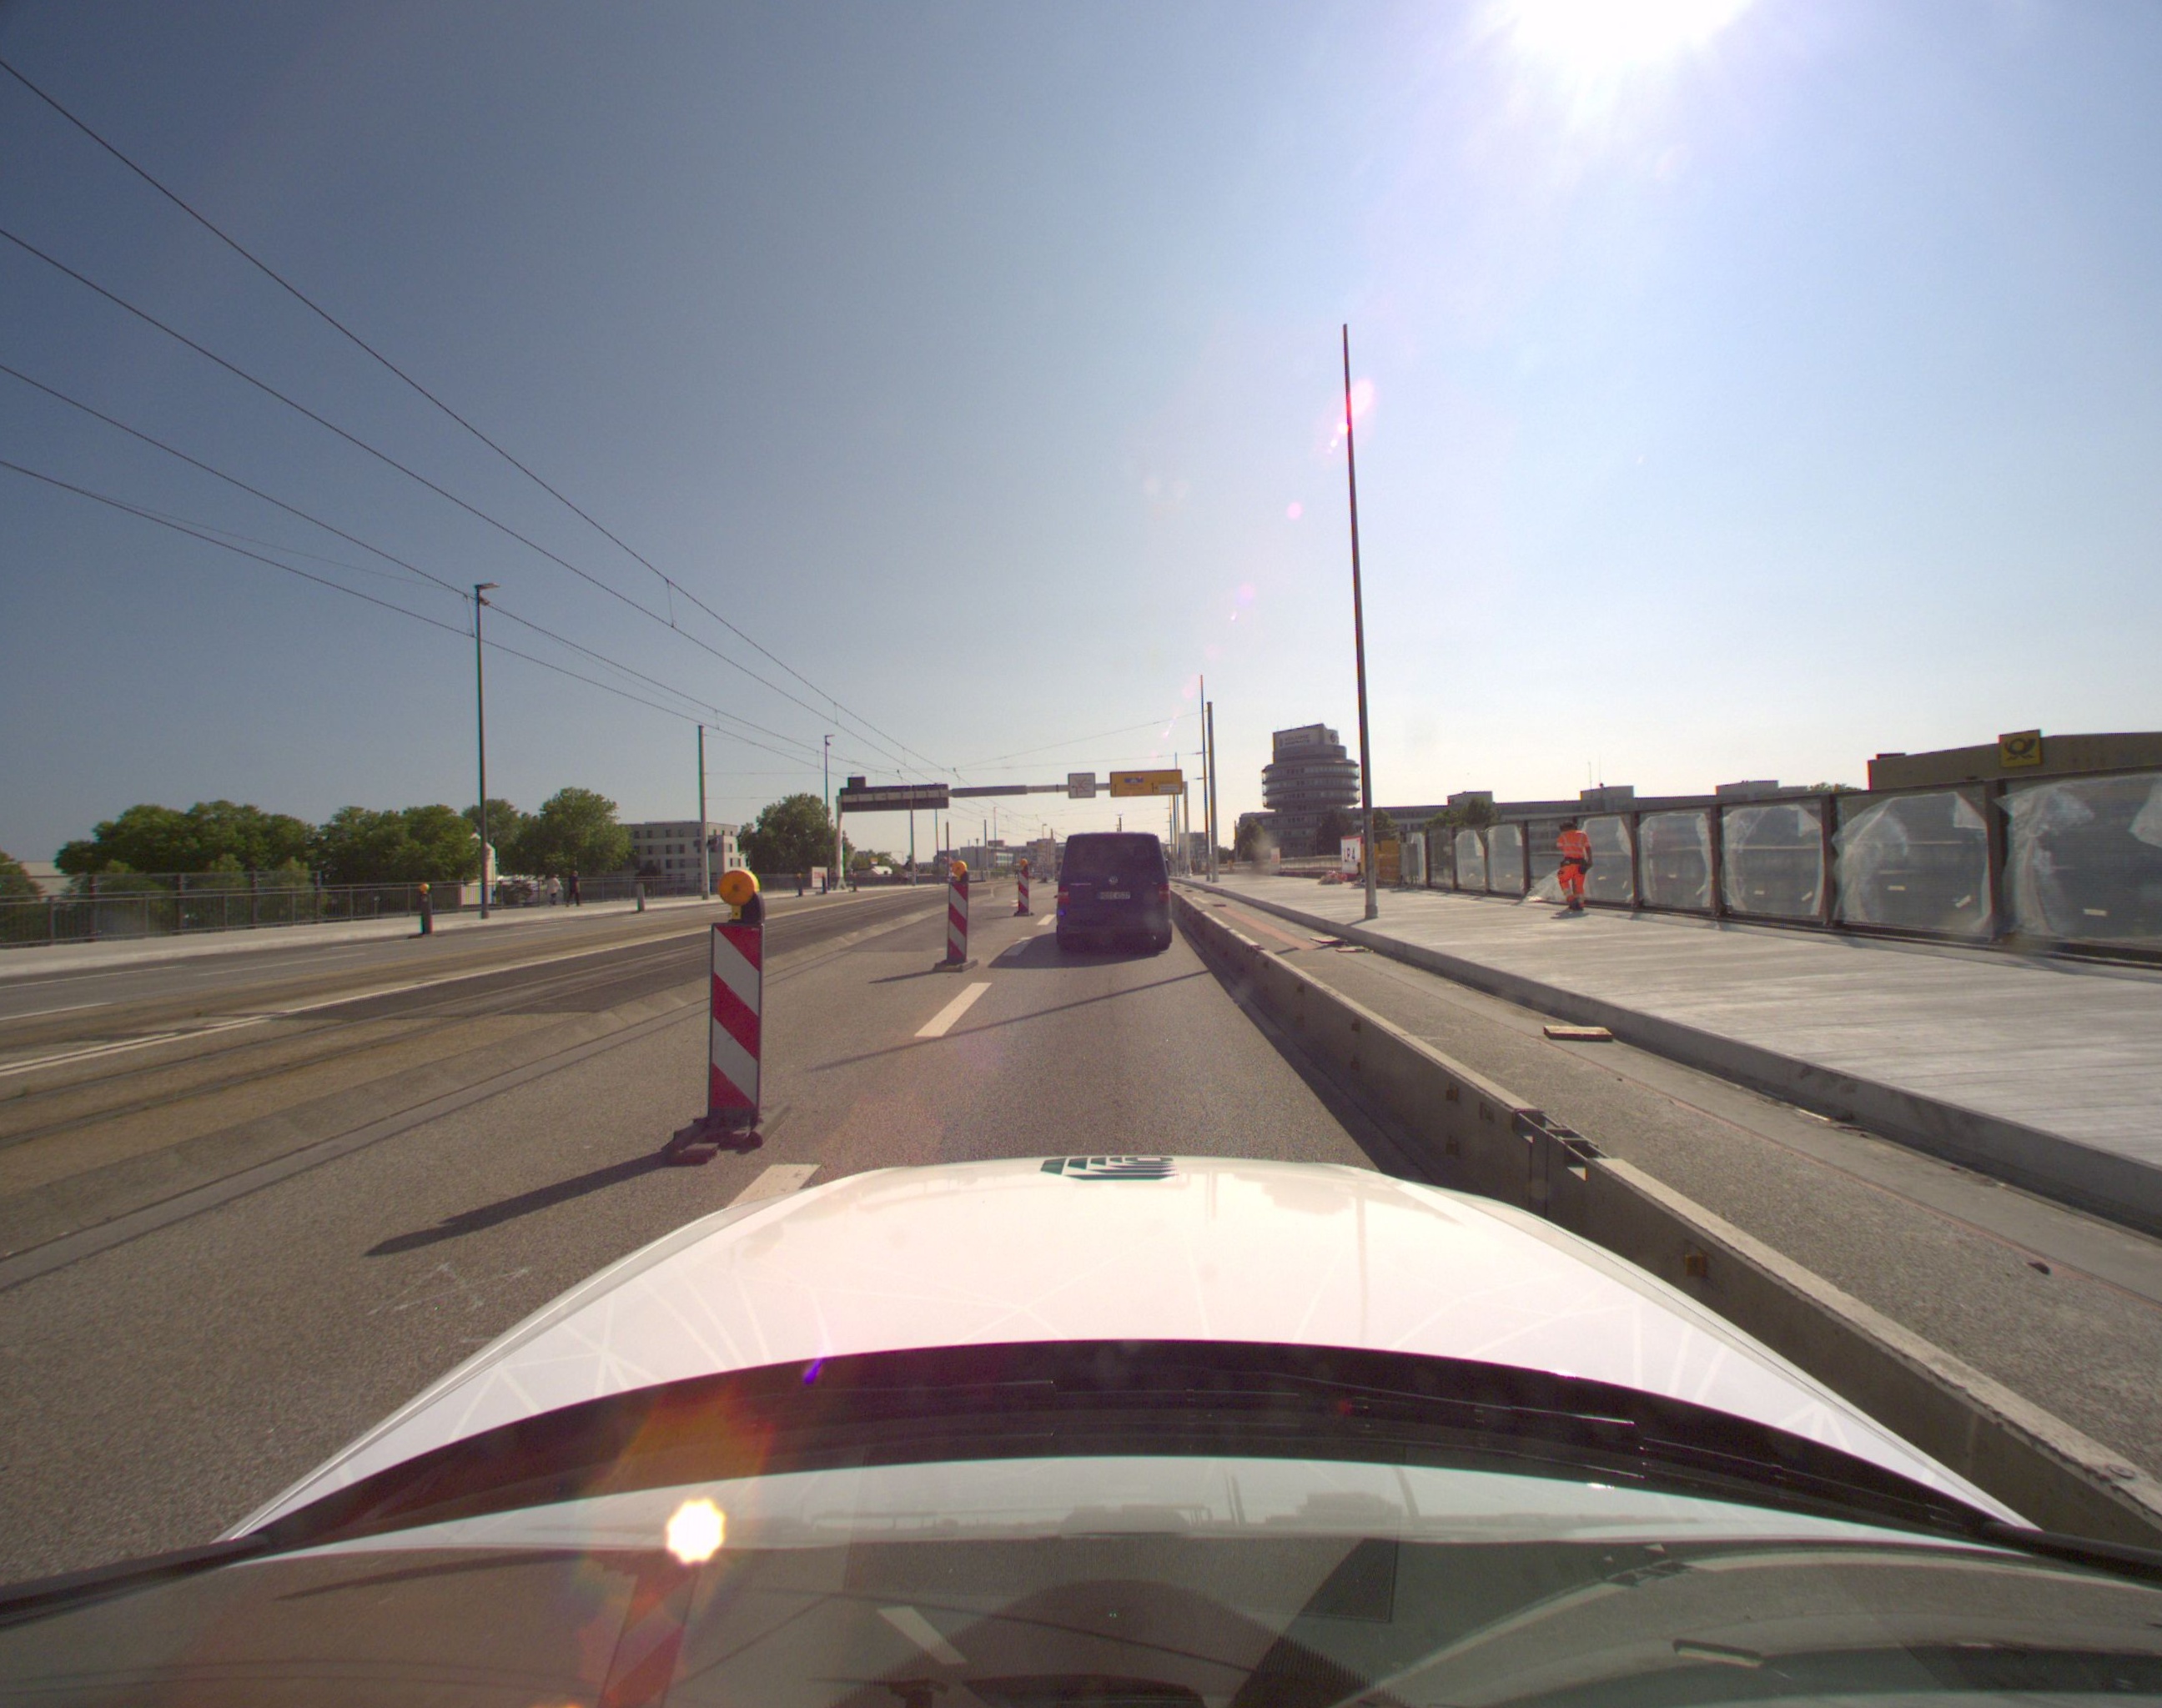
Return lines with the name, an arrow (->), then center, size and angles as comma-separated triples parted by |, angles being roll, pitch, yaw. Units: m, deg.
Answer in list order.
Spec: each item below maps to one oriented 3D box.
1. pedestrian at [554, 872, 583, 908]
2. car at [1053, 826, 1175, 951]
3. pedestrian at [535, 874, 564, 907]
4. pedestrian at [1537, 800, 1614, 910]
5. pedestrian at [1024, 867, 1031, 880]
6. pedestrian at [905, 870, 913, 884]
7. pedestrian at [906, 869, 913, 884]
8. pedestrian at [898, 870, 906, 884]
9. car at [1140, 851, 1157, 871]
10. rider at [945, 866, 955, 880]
pedestrian -> -24.119, 1.684, 38.343 | 0.741, 1.642, 0.895 | 0, -1, 2
car -> 0.587, 0.568, 14.645 | 1.880, 1.934, 4.002 | 0, -1, 2
pedestrian -> -25.065, 1.714, 38.427 | 0.716, 1.544, 0.889 | 0, -1, 2
pedestrian -> 9.299, 0.017, 15.352 | 0.728, 1.965, 1.017 | -3, -1, 2
pedestrian -> -7.323, 2.671, 111.837 | 0.655, 1.654, 0.742 | -2, -2, 16
pedestrian -> -20.823, 2.780, 98.700 | 0.749, 1.687, 0.733 | -2, -1, 5
pedestrian -> -20.193, 2.668, 95.964 | 0.483, 1.687, 0.809 | -2, -1, 6
pedestrian -> -21.026, 2.685, 95.737 | 0.594, 1.687, 0.819 | -2, -1, 6
car -> 10.124, 1.082, 122.437 | 2.329, 2.887, 5.976 | -1, -1, 4
rider -> -17.538, 2.521, 109.240 | 0.760, 1.733, 2.952 | -1, -1, 2
